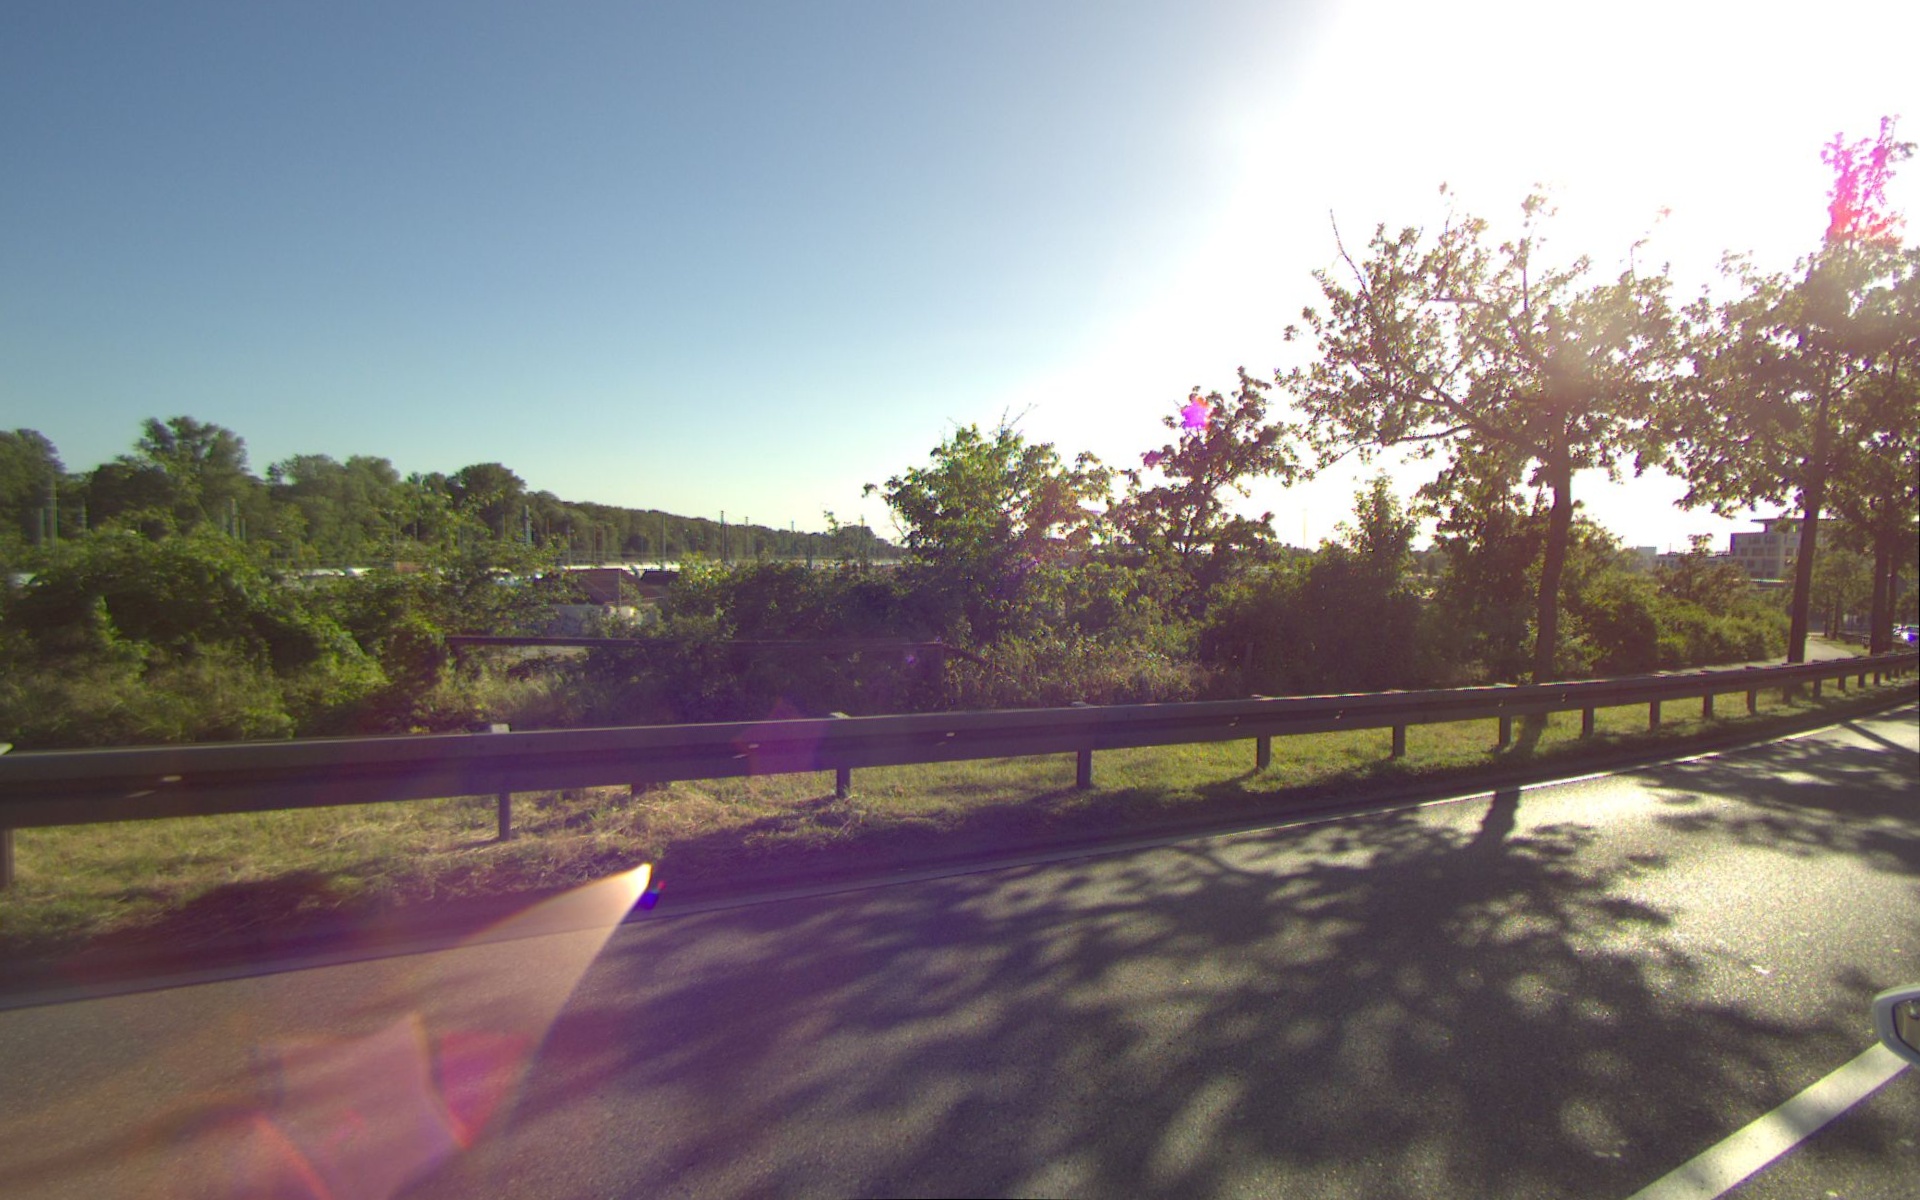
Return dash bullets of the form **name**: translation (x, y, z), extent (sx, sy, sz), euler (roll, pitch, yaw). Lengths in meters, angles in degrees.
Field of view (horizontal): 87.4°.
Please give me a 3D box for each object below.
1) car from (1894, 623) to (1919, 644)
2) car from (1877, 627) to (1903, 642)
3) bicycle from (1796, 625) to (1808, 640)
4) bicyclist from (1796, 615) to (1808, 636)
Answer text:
- **car**: translation (77.752, 2.740, 82.175), extent (1.789, 1.575, 4.118), euler (2, 0, 42)
- **car**: translation (104.075, 3.806, 112.410), extent (1.827, 1.511, 4.694), euler (2, 0, 40)
- **bicycle**: translation (65.077, 2.514, 77.638), extent (0.652, 1.110, 2.098), euler (2, 1, 40)
- **bicyclist**: translation (65.247, 1.976, 77.833), extent (0.643, 1.645, 0.870), euler (2, 1, 39)
